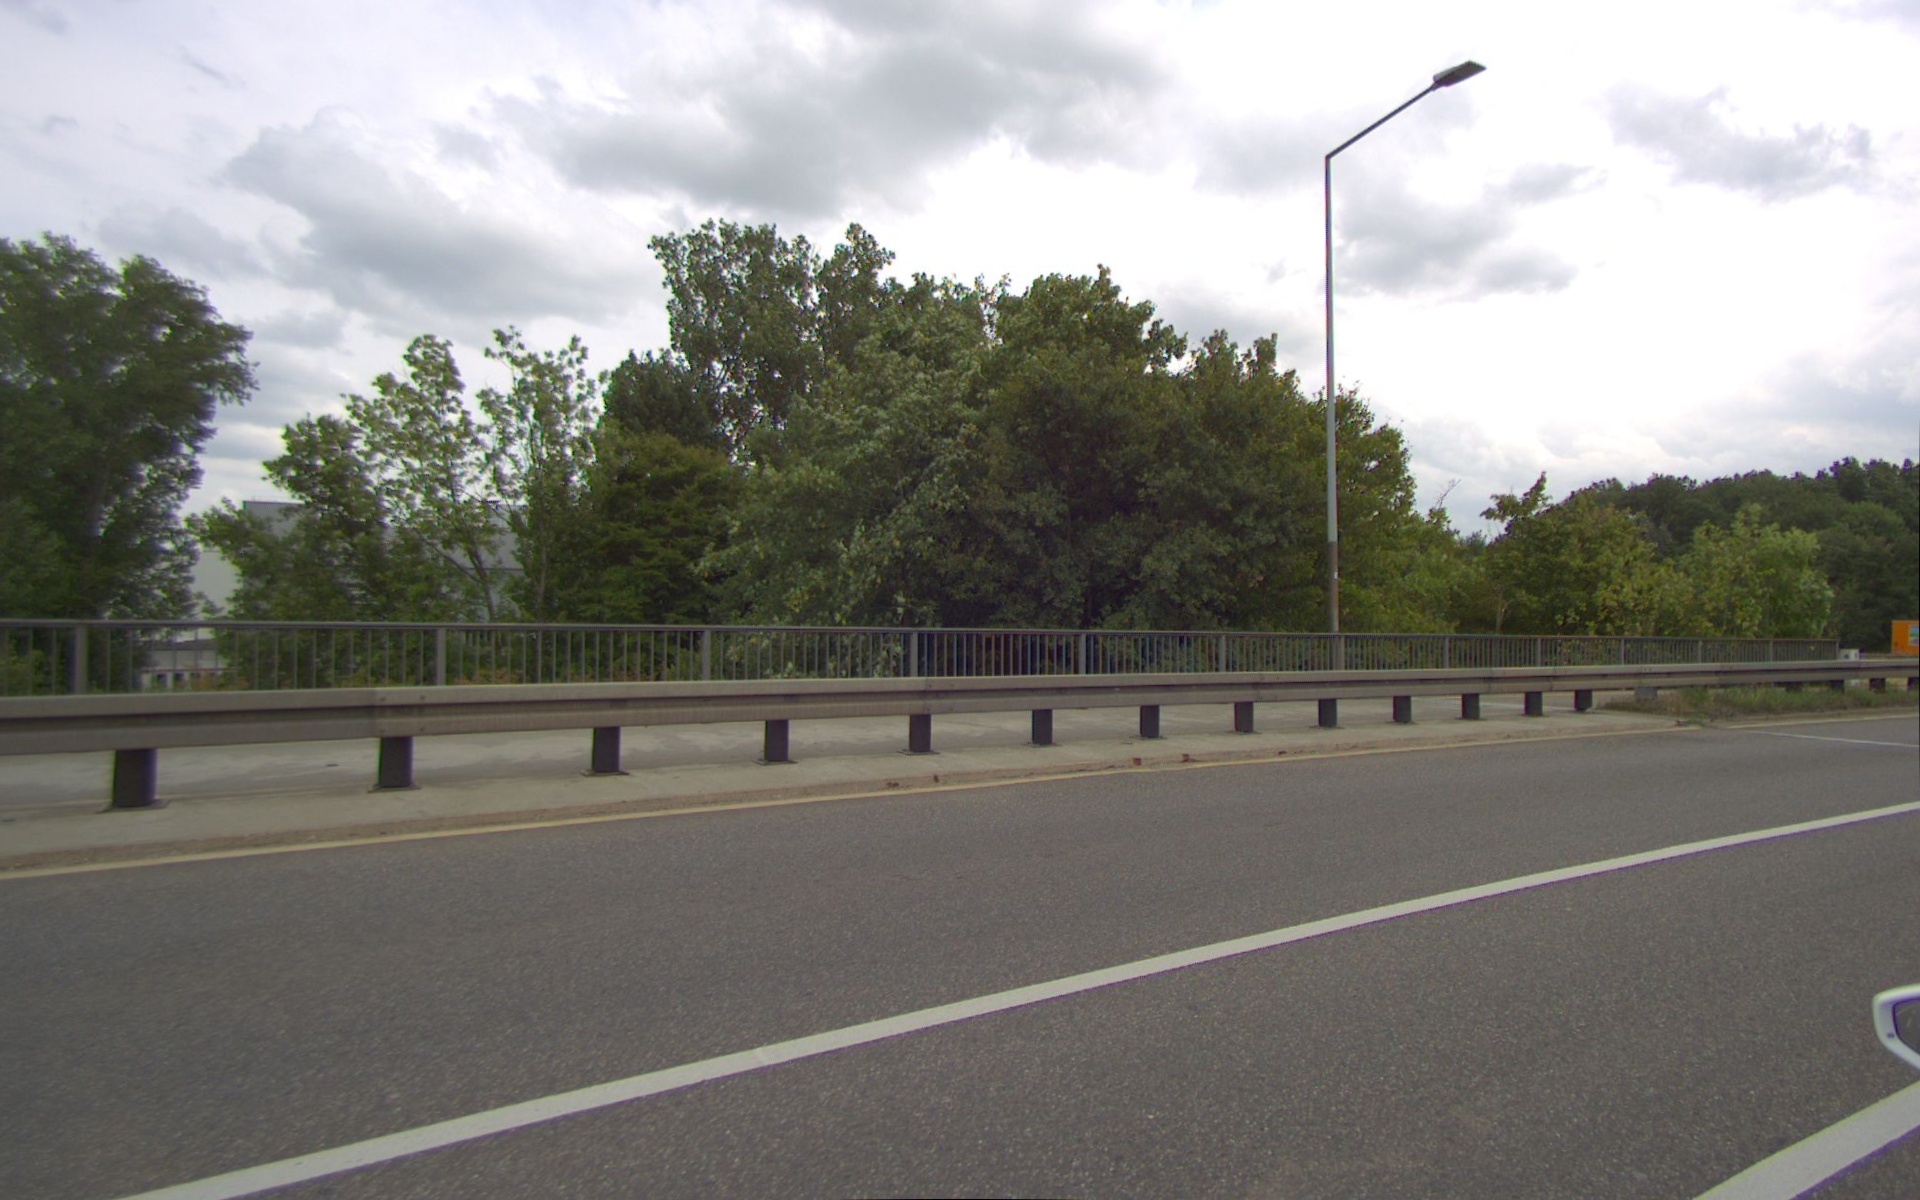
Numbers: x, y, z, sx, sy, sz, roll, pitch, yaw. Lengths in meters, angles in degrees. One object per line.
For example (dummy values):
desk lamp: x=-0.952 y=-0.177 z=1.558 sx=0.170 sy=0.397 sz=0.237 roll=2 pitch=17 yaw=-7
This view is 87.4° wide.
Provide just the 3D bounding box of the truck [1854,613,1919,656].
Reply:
truck: x=73.300 y=2.647 z=76.171 sx=2.912 sy=3.177 sz=9.278 roll=2 pitch=0 yaw=2

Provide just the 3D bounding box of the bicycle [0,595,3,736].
bicycle: x=-7.278 y=0.542 z=6.206 sx=1.888 sy=1.189 sz=0.630 roll=2 pitch=0 yaw=-37
